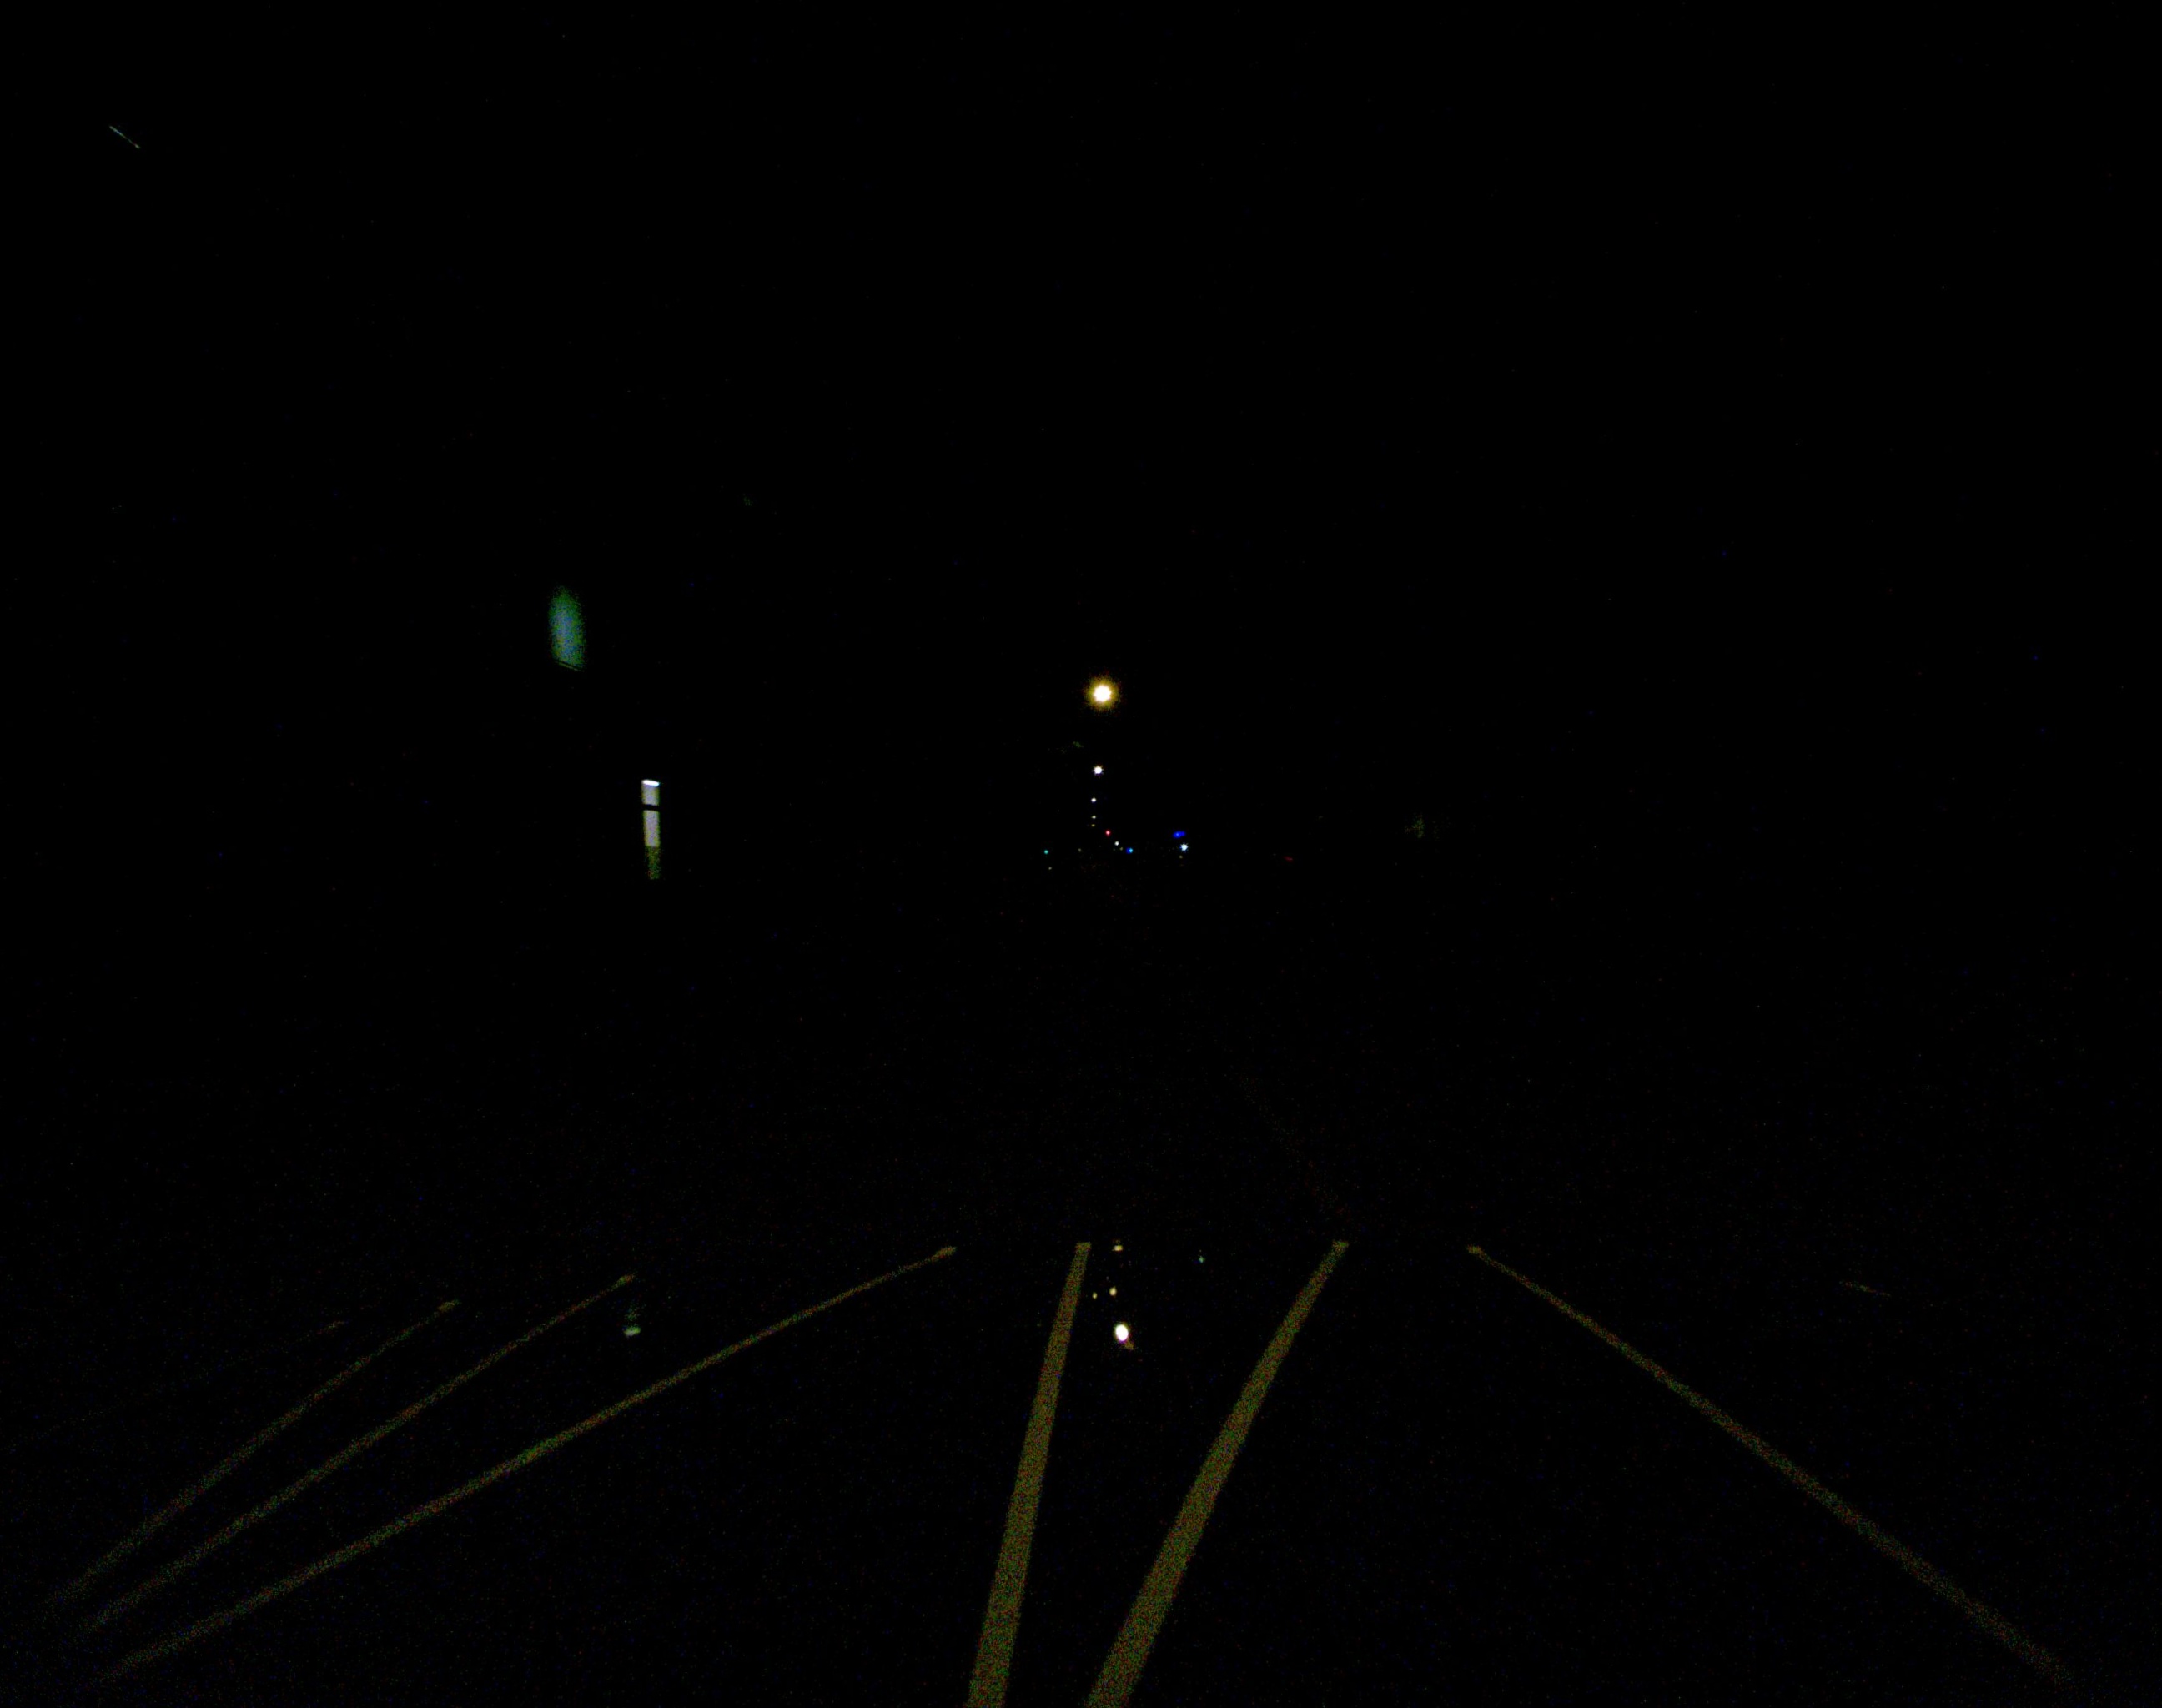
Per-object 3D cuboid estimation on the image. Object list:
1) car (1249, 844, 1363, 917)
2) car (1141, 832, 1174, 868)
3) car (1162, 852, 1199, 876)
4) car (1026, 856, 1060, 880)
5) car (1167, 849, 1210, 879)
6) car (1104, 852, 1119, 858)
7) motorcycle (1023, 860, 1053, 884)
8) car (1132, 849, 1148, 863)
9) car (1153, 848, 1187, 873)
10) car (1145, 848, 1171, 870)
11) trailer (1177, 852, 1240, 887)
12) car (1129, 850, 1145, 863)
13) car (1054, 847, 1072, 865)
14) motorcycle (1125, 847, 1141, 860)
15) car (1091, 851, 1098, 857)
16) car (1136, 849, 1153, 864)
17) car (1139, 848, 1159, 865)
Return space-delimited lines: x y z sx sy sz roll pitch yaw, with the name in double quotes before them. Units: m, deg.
"car" 5.761 0.626 19.990 1.826 1.589 4.073 -4 0 2
"car" 6.450 -0.342 64.645 2.184 2.892 4.909 -3 0 0
"car" 6.292 0.585 48.342 1.709 1.403 4.633 -2 0 0
"car" -2.365 0.845 47.951 1.672 1.420 4.148 1 0 3
"car" 6.049 0.521 43.122 1.721 1.493 4.205 -4 0 0
"car" 8.012 0.331 201.785 3.763 1.577 1.634 0 1 -3
"motorcycle" -2.420 0.967 42.431 0.930 1.276 2.230 0 0 -24
"car" 6.839 0.241 87.803 1.448 1.421 3.903 -4 0 0
"car" 6.233 0.392 53.539 1.746 1.597 4.297 -3 1 -1
"car" 5.911 0.364 58.569 1.746 1.597 4.116 -2 0 2
"trailer" 5.829 0.652 35.292 2.115 1.327 5.435 -4 0 2
"car" 6.757 0.306 92.043 1.646 1.496 3.903 -3 0 0
"car" -2.078 0.203 89.977 1.956 1.952 4.603 -2 0 0
"motorcycle" 7.002 -0.051 102.012 1.909 1.541 0.638 -3 1 -19
"car" 3.767 0.068 217.376 1.936 1.646 3.833 -1 1 0
"car" 6.794 0.272 81.505 1.551 1.447 3.368 -3 0 0
"car" 6.705 0.244 75.281 1.649 1.496 3.861 -3 0 1
